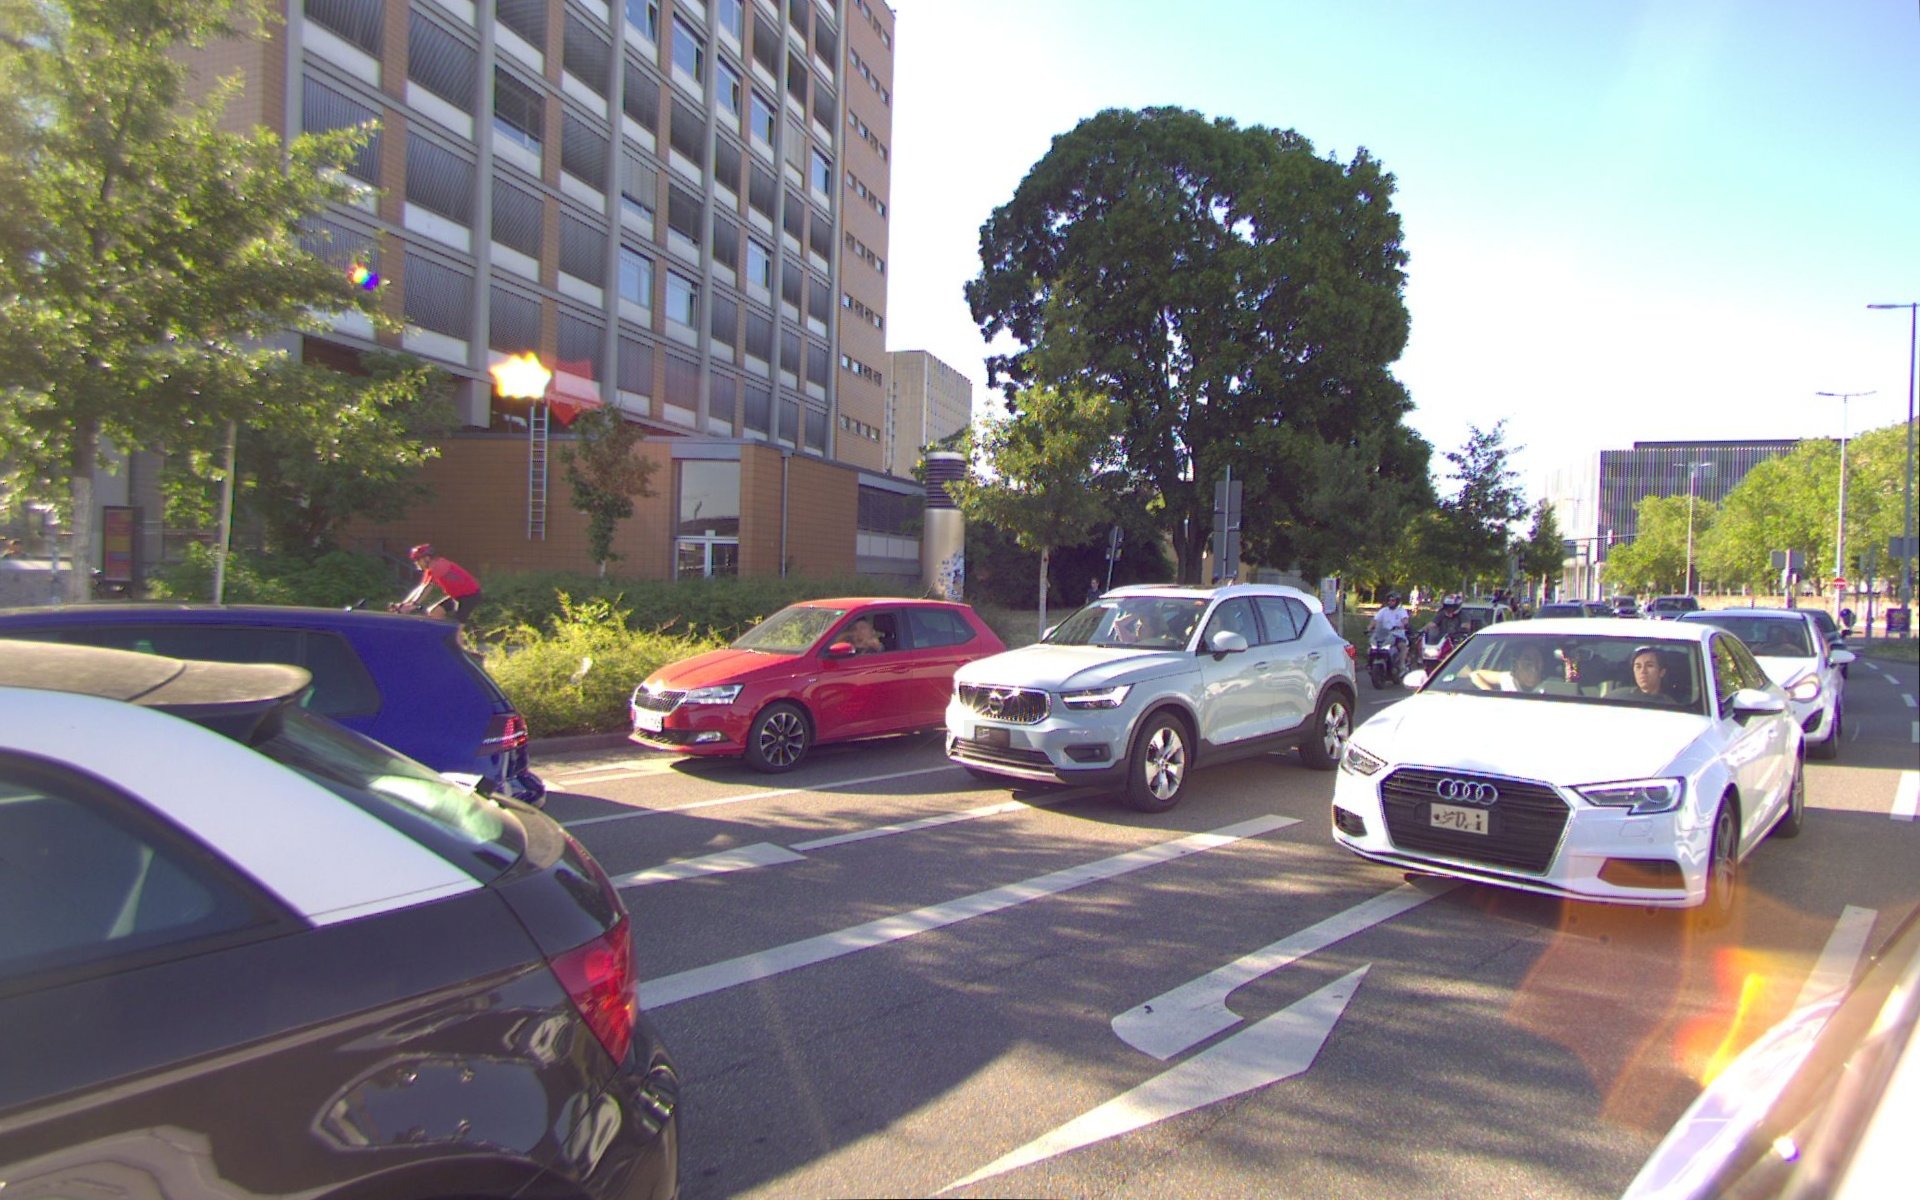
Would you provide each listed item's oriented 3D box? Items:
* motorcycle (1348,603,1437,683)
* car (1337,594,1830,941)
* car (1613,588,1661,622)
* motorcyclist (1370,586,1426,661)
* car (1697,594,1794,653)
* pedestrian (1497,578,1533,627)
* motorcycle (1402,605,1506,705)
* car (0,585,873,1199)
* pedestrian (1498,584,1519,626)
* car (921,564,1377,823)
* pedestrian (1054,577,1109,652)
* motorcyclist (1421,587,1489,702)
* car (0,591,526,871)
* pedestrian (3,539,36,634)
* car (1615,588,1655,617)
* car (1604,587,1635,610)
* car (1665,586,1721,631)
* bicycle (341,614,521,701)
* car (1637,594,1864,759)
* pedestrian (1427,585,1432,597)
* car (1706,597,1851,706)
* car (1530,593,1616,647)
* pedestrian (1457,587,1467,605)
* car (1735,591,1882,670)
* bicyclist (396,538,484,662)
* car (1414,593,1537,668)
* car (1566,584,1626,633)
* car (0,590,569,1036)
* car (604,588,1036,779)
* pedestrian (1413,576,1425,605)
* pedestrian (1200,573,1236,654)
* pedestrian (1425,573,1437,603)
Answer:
[{"bbox_3d":[7.774,0.735,18.137,0.716,1.321,2.199,0,0,44],"label":"motorcycle"},{"bbox_3d":[3.940,0.689,6.120,3.769,1.422,1.625,-1,0,-43],"label":"car"},{"bbox_3d":[36.308,0.228,54.358,1.730,1.727,3.961,2,1,28],"label":"car"},{"bbox_3d":[7.890,0.408,18.243,0.716,1.321,0.724,0,0,45],"label":"motorcyclist"},{"bbox_3d":[25.657,0.702,33.191,1.730,1.727,3.962,2,1,27],"label":"car"},{"bbox_3d":[23.625,0.099,43.048,1.137,2.039,1.268,0,0,39],"label":"pedestrian"},{"bbox_3d":[7.256,0.749,14.811,0.716,1.321,2.199,0,0,44],"label":"motorcycle"},{"bbox_3d":[-2.163,0.702,1.146,3.930,1.422,1.626,-1,0,-41],"label":"car"},{"bbox_3d":[21.156,0.175,39.033,0.593,1.615,0.586,0,0,41],"label":"pedestrian"},{"bbox_3d":[1.768,0.569,8.460,4.153,1.641,1.625,-1,0,-43],"label":"car"},{"bbox_3d":[2.889,0.337,24.112,1.005,1.742,0.873,0,0,39],"label":"pedestrian"},{"bbox_3d":[7.213,0.623,14.744,0.709,1.610,0.679,0,0,45],"label":"motorcyclist"},{"bbox_3d":[-5.183,0.668,6.087,4.433,1.422,1.726,-1,0,-42],"label":"car"},{"bbox_3d":[-17.637,-0.254,18.981,0.441,1.754,0.372,0,0,35],"label":"pedestrian"},{"bbox_3d":[45.888,0.124,68.840,1.863,1.838,3.959,2,1,29],"label":"car"},{"bbox_3d":[55.497,-0.122,85.204,1.863,1.838,3.959,2,1,29],"label":"car"},{"bbox_3d":[32.108,0.349,44.423,1.867,1.838,3.950,2,1,35],"label":"car"},{"bbox_3d":[-6.912,0.719,13.307,0.657,0.975,2.005,2,2,41],"label":"bicycle"},{"bbox_3d":[8.867,0.688,11.226,1.623,1.478,3.979,0,1,43],"label":"car"},{"bbox_3d":[61.235,-1.183,131.927,0.477,1.504,0.409,1,1,-41],"label":"pedestrian"},{"bbox_3d":[13.105,0.709,16.121,1.622,1.478,3.981,0,1,42],"label":"car"},{"bbox_3d":[19.531,0.589,32.184,1.739,1.564,3.942,2,2,40],"label":"car"},{"bbox_3d":[56.634,-0.495,114.093,0.828,2.039,1.061,0,0,19],"label":"pedestrian"},{"bbox_3d":[18.914,0.600,22.751,1.731,1.564,3.960,2,1,29],"label":"car"},{"bbox_3d":[-6.856,-0.005,13.351,0.615,1.580,0.859,0,0,40],"label":"bicyclist"},{"bbox_3d":[12.019,0.632,23.482,1.738,1.544,3.943,2,2,39],"label":"car"},{"bbox_3d":[26.039,0.301,41.387,1.867,1.838,3.950,2,1,35],"label":"car"},{"bbox_3d":[-3.719,0.685,3.763,3.930,1.422,1.626,-1,0,-41],"label":"car"},{"bbox_3d":[-1.198,0.630,9.845,3.974,1.478,1.625,-1,0,-43],"label":"car"},{"bbox_3d":[24.885,-0.521,54.906,0.543,1.549,0.598,0,0,30],"label":"pedestrian"},{"bbox_3d":[6.108,0.311,23.973,0.681,1.910,0.465,0,0,-24],"label":"pedestrian"},{"bbox_3d":[25.401,-0.650,54.588,0.543,1.627,0.598,0,0,30],"label":"pedestrian"}]
